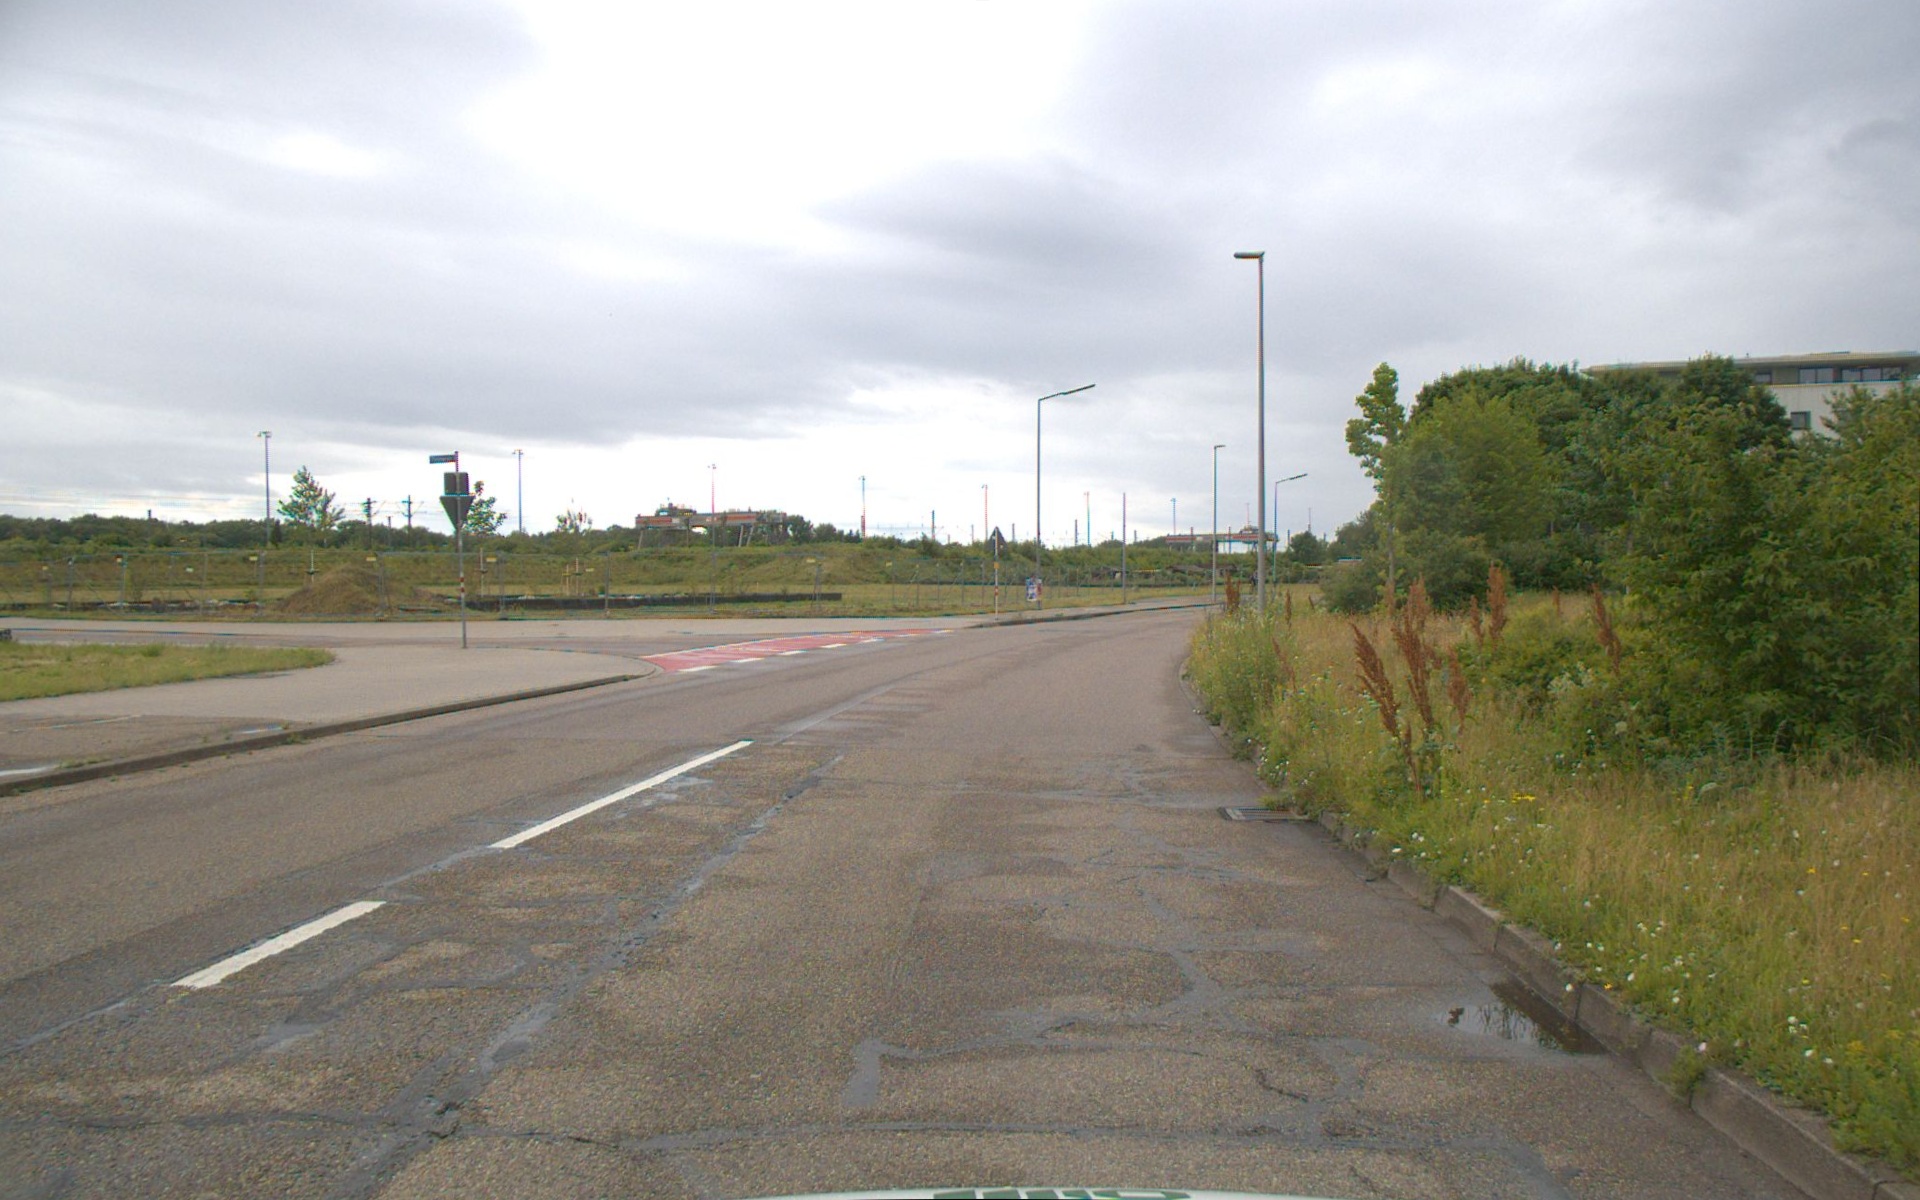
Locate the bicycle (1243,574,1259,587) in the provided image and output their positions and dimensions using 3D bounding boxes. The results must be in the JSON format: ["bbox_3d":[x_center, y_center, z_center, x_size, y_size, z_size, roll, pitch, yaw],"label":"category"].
[{"bbox_3d":[21.857,-1.446,124.367,0.787,0.923,2.233,0,2,21],"label":"bicycle"}]

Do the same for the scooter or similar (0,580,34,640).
[{"bbox_3d":[-19.674,0.197,33.577,1.432,1.188,0.571,1,0,2],"label":"scooter or similar"}]
